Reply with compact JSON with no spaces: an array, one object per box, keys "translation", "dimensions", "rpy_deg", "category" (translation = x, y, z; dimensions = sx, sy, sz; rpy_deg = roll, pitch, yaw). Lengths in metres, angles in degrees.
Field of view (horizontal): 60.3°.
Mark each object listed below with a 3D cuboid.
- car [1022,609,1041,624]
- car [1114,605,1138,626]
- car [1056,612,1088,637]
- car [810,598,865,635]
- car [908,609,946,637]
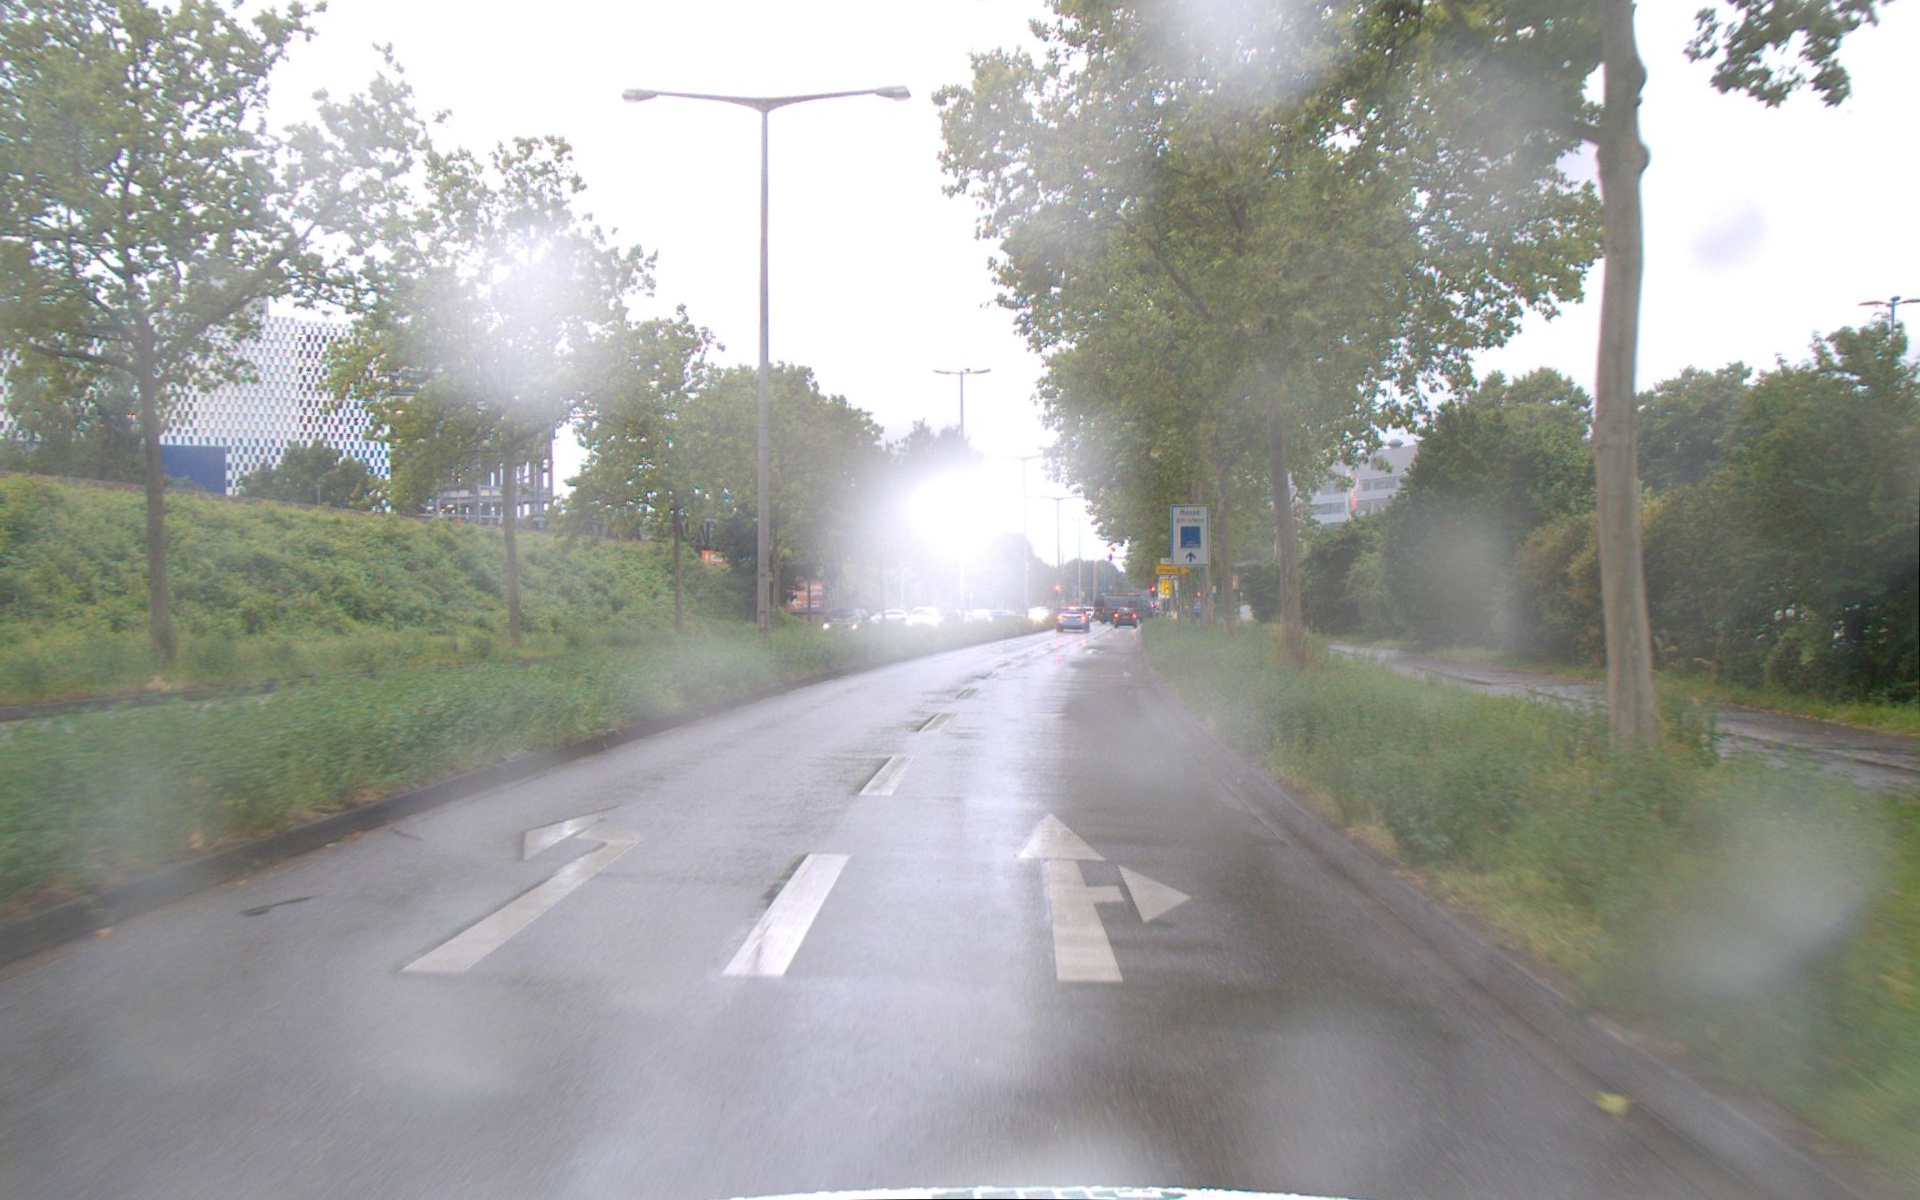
[{"translation":[7.655,1.732,176.322],"dimensions":[1.676,1.557,4.003],"rpy_deg":[-1,-1,7],"category":"car"},{"translation":[12.789,1.171,127.350],"dimensions":[1.758,1.564,4.390],"rpy_deg":[1,-1,7],"category":"car"},{"translation":[6.629,1.420,97.607],"dimensions":[1.654,1.458,4.577],"rpy_deg":[0,-1,7],"category":"car"},{"translation":[-4.965,0.661,67.386],"dimensions":[1.597,1.451,4.003],"rpy_deg":[0,0,5],"category":"car"},{"translation":[-1.835,1.286,92.670],"dimensions":[1.666,1.521,4.207],"rpy_deg":[0,0,5],"category":"car"}]
